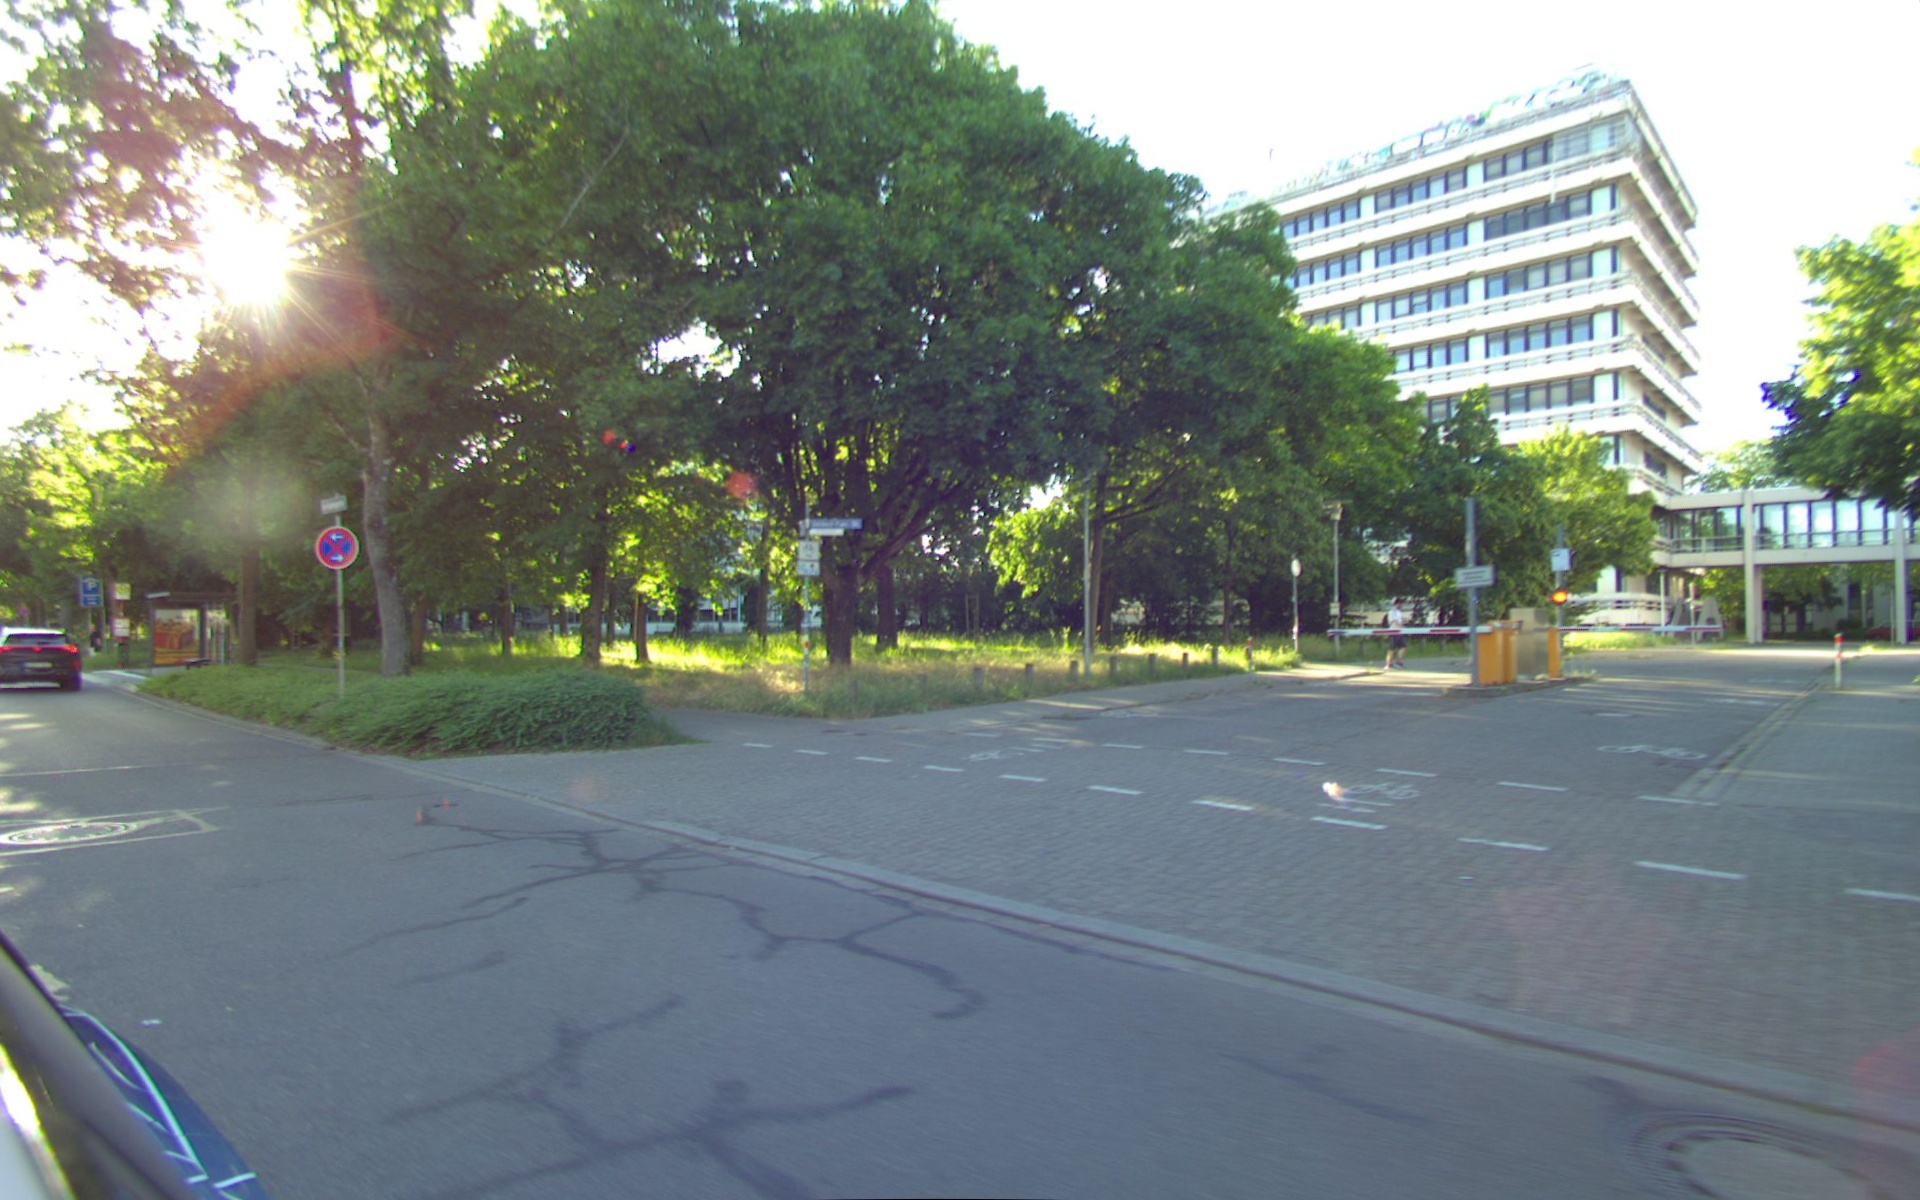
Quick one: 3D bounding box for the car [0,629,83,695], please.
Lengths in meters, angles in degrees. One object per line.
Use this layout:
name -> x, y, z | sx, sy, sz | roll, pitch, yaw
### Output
car -> -24.188, 1.580, 26.165 | 4.336, 1.591, 1.823 | -2, -4, 43

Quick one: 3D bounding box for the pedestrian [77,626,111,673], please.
pedestrian -> -34.403, 1.952, 40.210 | 0.720, 1.835, 0.893 | -2, -2, 40

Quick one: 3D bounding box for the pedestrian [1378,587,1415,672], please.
pedestrian -> 10.662, 0.715, 24.743 | 0.590, 2.029, 0.748 | -2, -2, 42
